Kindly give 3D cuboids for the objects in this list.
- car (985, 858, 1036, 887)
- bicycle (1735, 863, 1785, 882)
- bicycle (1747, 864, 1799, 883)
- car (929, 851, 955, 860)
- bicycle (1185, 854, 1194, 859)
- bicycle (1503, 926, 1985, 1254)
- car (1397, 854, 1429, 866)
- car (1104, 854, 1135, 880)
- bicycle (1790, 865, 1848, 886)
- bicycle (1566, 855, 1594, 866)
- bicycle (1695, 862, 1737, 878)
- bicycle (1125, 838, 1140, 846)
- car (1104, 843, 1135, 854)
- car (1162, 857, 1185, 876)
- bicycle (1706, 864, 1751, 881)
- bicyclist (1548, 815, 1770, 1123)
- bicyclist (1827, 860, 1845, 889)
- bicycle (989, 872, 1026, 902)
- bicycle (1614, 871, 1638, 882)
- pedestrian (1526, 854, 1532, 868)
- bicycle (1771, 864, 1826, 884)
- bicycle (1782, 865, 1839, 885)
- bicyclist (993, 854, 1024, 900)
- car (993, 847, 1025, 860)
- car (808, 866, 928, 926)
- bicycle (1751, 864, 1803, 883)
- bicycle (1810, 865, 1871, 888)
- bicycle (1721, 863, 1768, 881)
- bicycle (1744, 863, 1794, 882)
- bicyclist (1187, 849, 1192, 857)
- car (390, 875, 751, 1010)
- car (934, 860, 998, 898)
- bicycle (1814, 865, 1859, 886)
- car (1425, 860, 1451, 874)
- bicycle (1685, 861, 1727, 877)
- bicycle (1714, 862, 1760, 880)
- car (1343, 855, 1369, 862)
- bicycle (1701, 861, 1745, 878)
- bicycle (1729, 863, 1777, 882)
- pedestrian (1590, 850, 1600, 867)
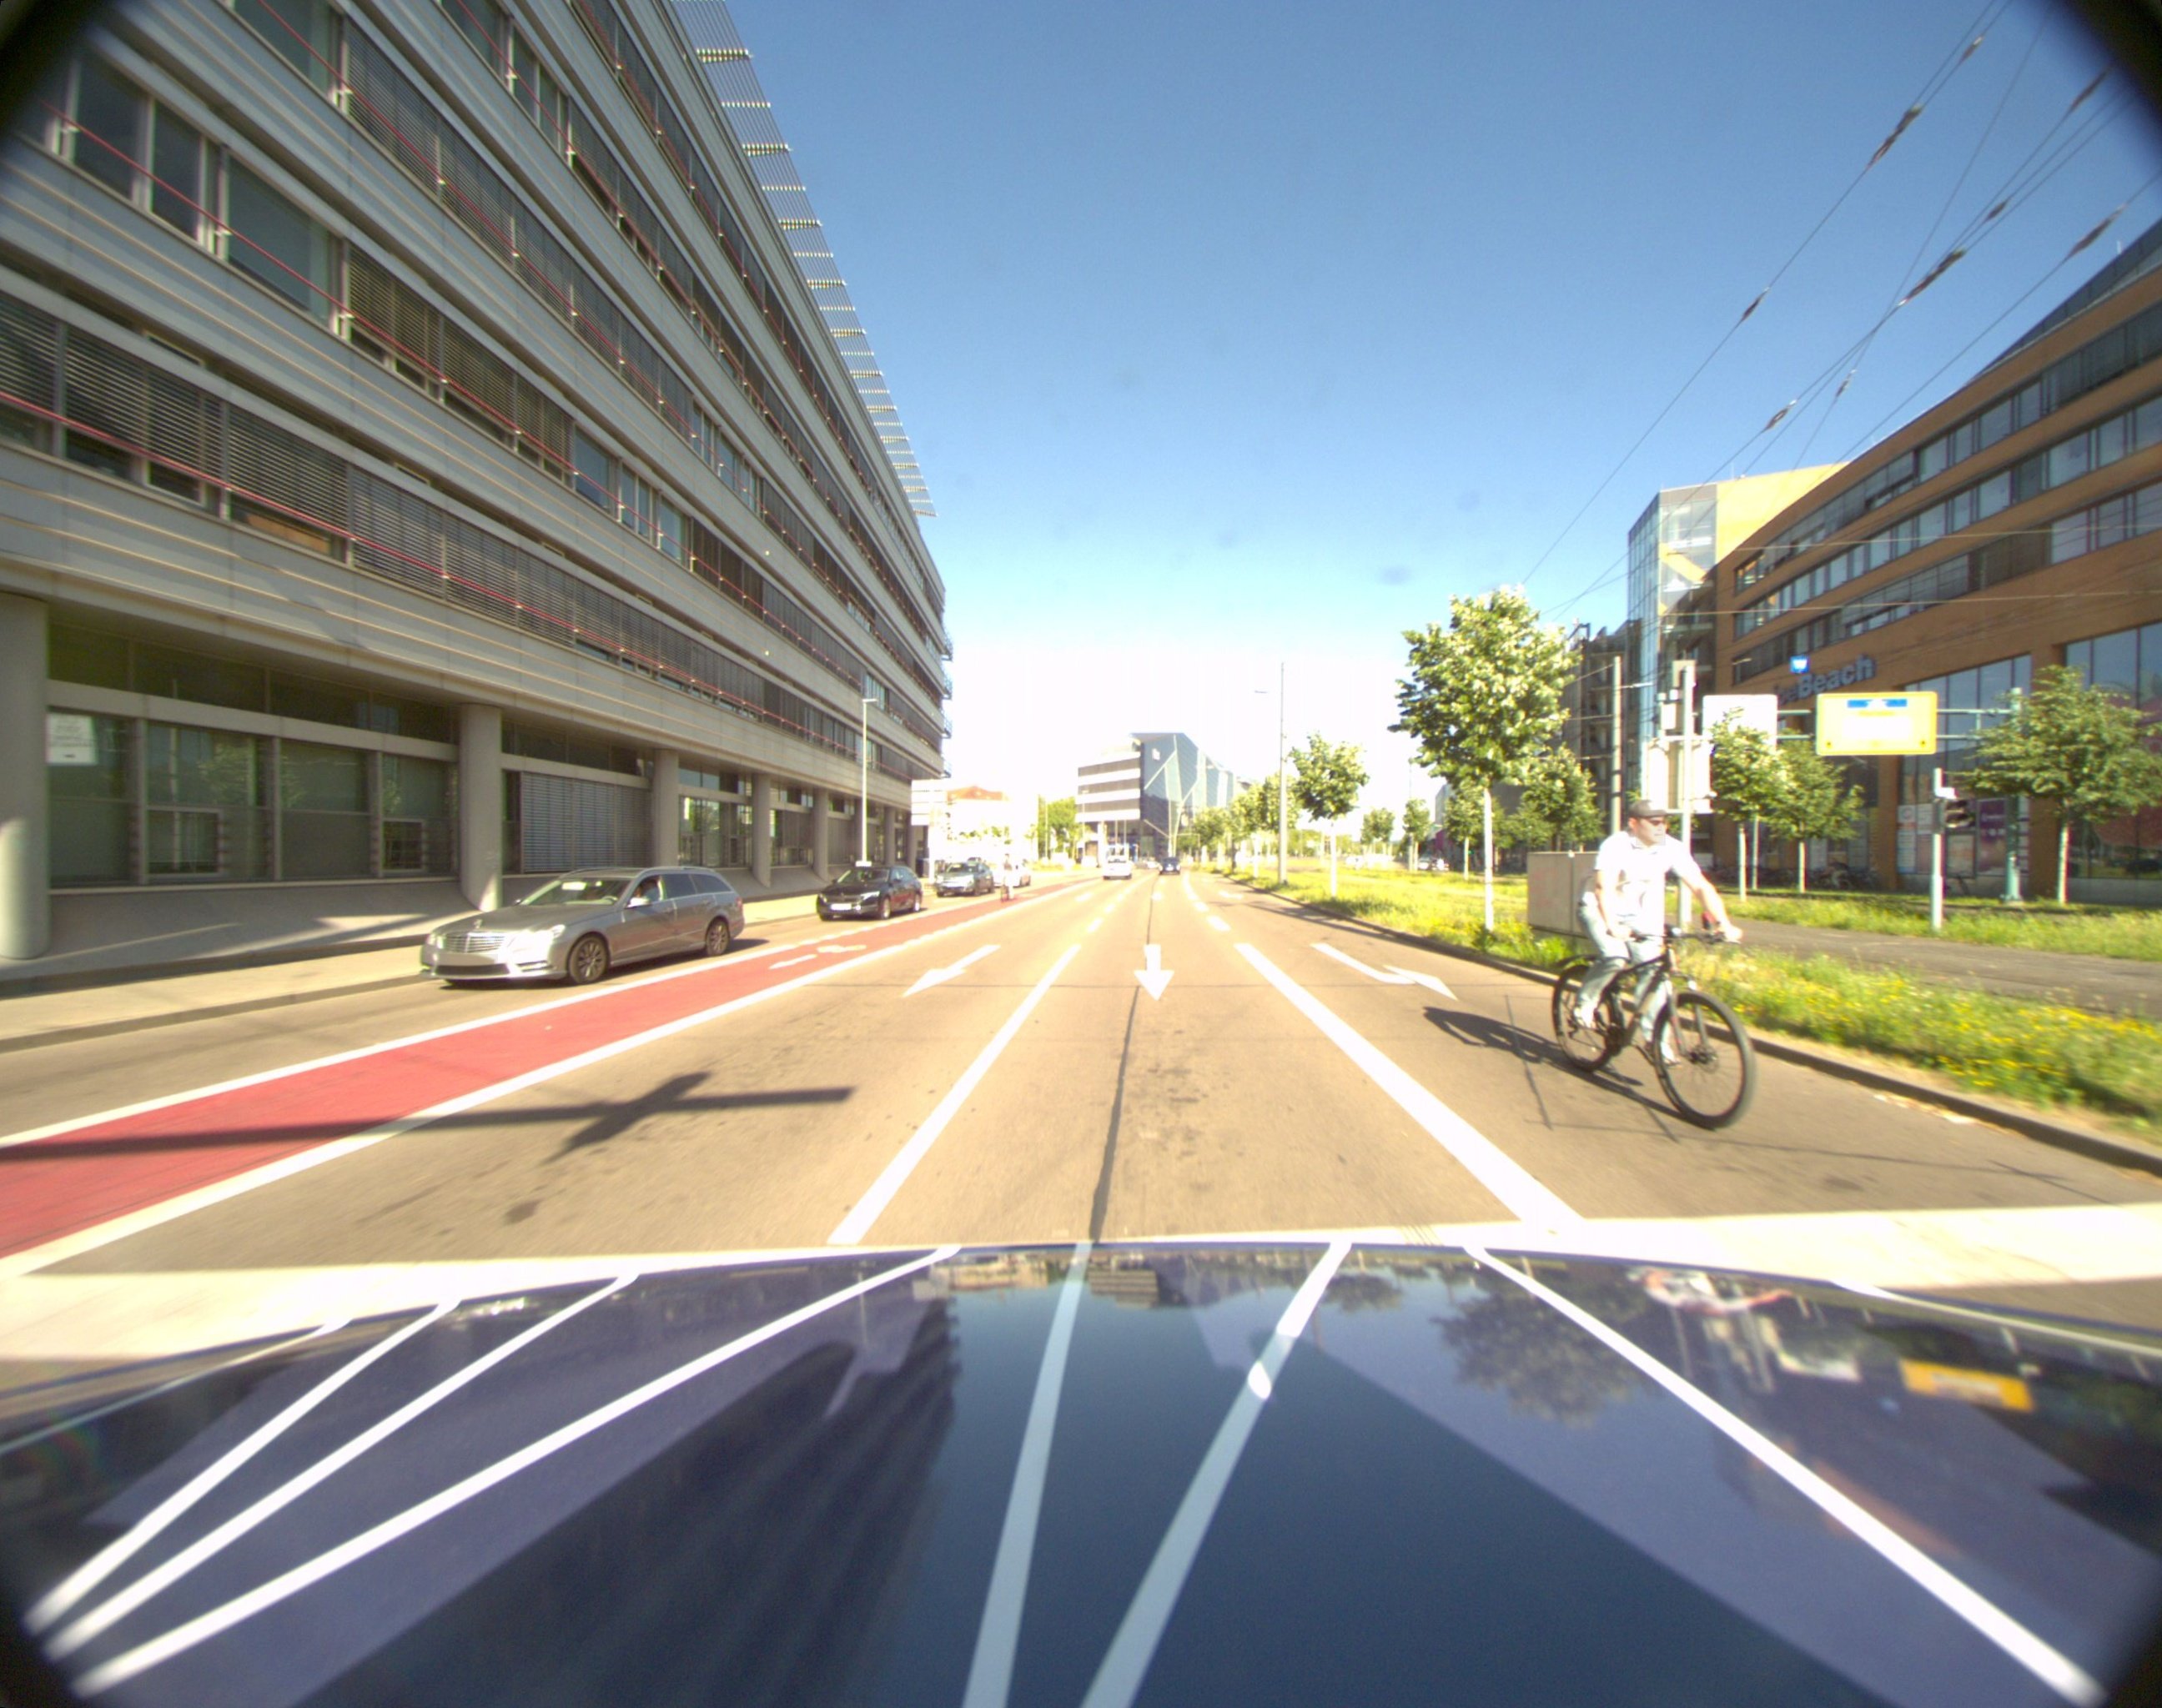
[{"bbox_3d":[-3.765,0.959,41.395,1.776,1.395,4.296,-2,0,8],"label":"car"},{"bbox_3d":[41.966,1.156,46.971,2.176,1.117,0.754,-1,0,15],"label":"bicycle"},{"bbox_3d":[41.219,1.164,45.301,2.176,1.117,0.754,-1,0,15],"label":"bicycle"},{"bbox_3d":[-23.312,0.205,127.429,3.989,1.547,1.878,0,1,26],"label":"car"},{"bbox_3d":[19.804,0.478,138.669,0.768,0.835,2.573,1,1,33],"label":"bicycle"},{"bbox_3d":[3.435,1.086,4.433,0.688,1.063,2.698,-1,0,6],"label":"bicycle"},{"bbox_3d":[37.168,0.630,85.167,1.997,1.326,4.793,0,0,8],"label":"car"},{"bbox_3d":[2.783,0.868,54.094,1.872,1.621,4.339,0,2,8],"label":"car"},{"bbox_3d":[40.033,1.171,41.238,2.176,1.117,0.754,-1,0,15],"label":"bicycle"},{"bbox_3d":[46.562,0.620,70.880,2.176,0.949,0.493,-1,1,15],"label":"bicycle"},{"bbox_3d":[44.514,1.103,53.288,2.176,1.117,0.754,-1,0,15],"label":"bicycle"},{"bbox_3d":[6.674,-1.538,98.239,1.703,0.948,0.698,2,0,20],"label":"bicycle"},{"bbox_3d":[5.454,-0.855,108.451,3.988,1.547,1.879,1,1,34],"label":"car"},{"bbox_3d":[8.042,1.058,66.268,1.872,1.547,4.002,0,0,6],"label":"car"},{"bbox_3d":[43.728,1.255,51.315,2.176,1.117,0.754,-1,0,15],"label":"bicycle"},{"bbox_3d":[3.443,0.627,4.626,0.619,1.660,1.020,-1,0,6],"label":"bicyclist"},{"bbox_3d":[36.088,0.978,36.305,0.341,1.369,0.482,0,2,4],"label":"bicyclist"},{"bbox_3d":[-2.733,1.209,28.541,0.827,1.030,1.893,-1,0,11],"label":"bicycle"},{"bbox_3d":[43.339,1.779,60.416,1.448,0.814,0.446,-1,0,15],"label":"bicycle"},{"bbox_3d":[49.761,0.752,84.361,0.490,1.510,0.650,1,1,25],"label":"pedestrian"},{"bbox_3d":[40.667,1.134,43.097,2.176,1.117,0.754,-1,0,15],"label":"bicycle"},{"bbox_3d":[40.403,1.168,42.111,2.176,1.117,0.754,-1,0,15],"label":"bicycle"},{"bbox_3d":[-2.691,0.837,28.249,0.808,1.683,1.052,-1,0,11],"label":"bicyclist"},{"bbox_3d":[-11.324,-0.046,118.854,4.644,1.970,1.878,0,1,21],"label":"car"},{"bbox_3d":[-5.811,1.083,21.383,1.725,1.414,4.639,0,0,5],"label":"car"},{"bbox_3d":[40.732,1.141,44.490,2.176,1.117,0.754,-1,0,15],"label":"bicycle"},{"bbox_3d":[39.470,1.168,39.497,2.176,1.117,0.754,-1,0,15],"label":"bicycle"},{"bbox_3d":[42.613,1.131,48.829,2.176,1.117,0.754,-1,0,15],"label":"bicycle"},{"bbox_3d":[41.704,1.141,46.074,2.176,1.117,0.754,-1,0,15],"label":"bicycle"},{"bbox_3d":[19.813,-0.182,138.693,0.760,1.402,0.773,1,1,33],"label":"bicyclist"},{"bbox_3d":[-6.899,1.070,11.087,1.725,1.388,4.789,0,0,5],"label":"car"},{"bbox_3d":[-4.966,1.034,33.443,1.725,1.515,4.401,0,0,6],"label":"car"},{"bbox_3d":[36.091,1.009,36.315,0.354,0.921,1.895,0,2,5],"label":"bicycle"},{"bbox_3d":[34.860,1.239,74.255,1.431,1.351,3.297,0,0,8],"label":"car"},{"bbox_3d":[44.678,1.100,54.353,2.176,1.117,0.754,-1,0,15],"label":"bicycle"},{"bbox_3d":[42.982,1.129,49.774,2.176,1.117,0.754,-1,0,15],"label":"bicycle"},{"bbox_3d":[45.130,0.756,124.689,3.991,1.084,2.003,0,0,20],"label":"car"},{"bbox_3d":[44.246,1.070,52.401,2.176,1.117,0.754,-1,0,15],"label":"bicycle"},{"bbox_3d":[42.285,1.160,47.840,2.176,1.117,0.754,-1,0,15],"label":"bicycle"},{"bbox_3d":[47.272,0.387,69.883,0.636,1.544,0.663,1,1,27],"label":"pedestrian"}]
